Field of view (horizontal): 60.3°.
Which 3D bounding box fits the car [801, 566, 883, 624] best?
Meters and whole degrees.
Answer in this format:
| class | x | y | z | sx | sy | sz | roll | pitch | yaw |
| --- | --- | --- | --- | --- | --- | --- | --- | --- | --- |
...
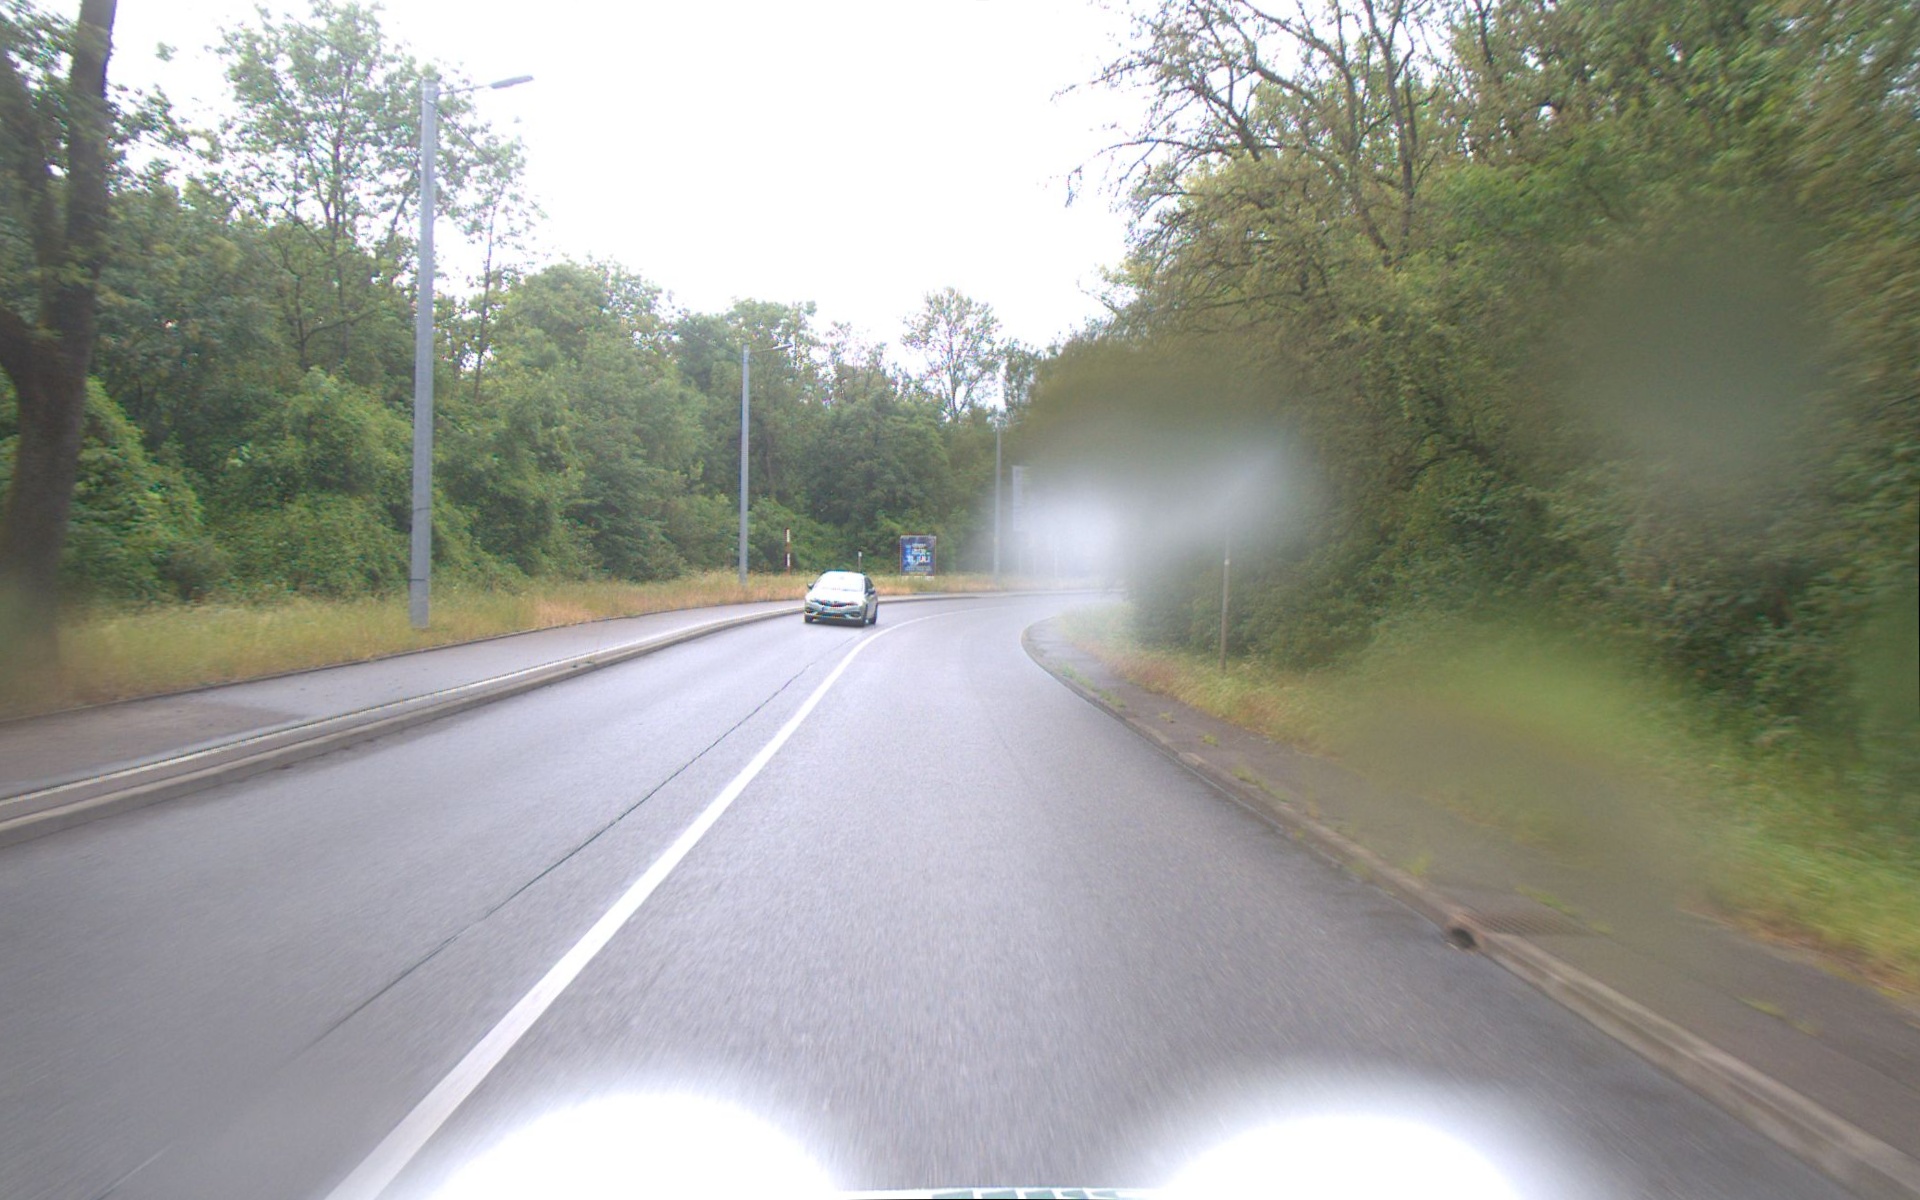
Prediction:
| class | x | y | z | sx | sy | sz | roll | pitch | yaw |
| --- | --- | --- | --- | --- | --- | --- | --- | --- | --- |
| car | -3.376 | -0.188 | 48.168 | 1.743 | 1.455 | 4.477 | 4 | 2 | 3 |
